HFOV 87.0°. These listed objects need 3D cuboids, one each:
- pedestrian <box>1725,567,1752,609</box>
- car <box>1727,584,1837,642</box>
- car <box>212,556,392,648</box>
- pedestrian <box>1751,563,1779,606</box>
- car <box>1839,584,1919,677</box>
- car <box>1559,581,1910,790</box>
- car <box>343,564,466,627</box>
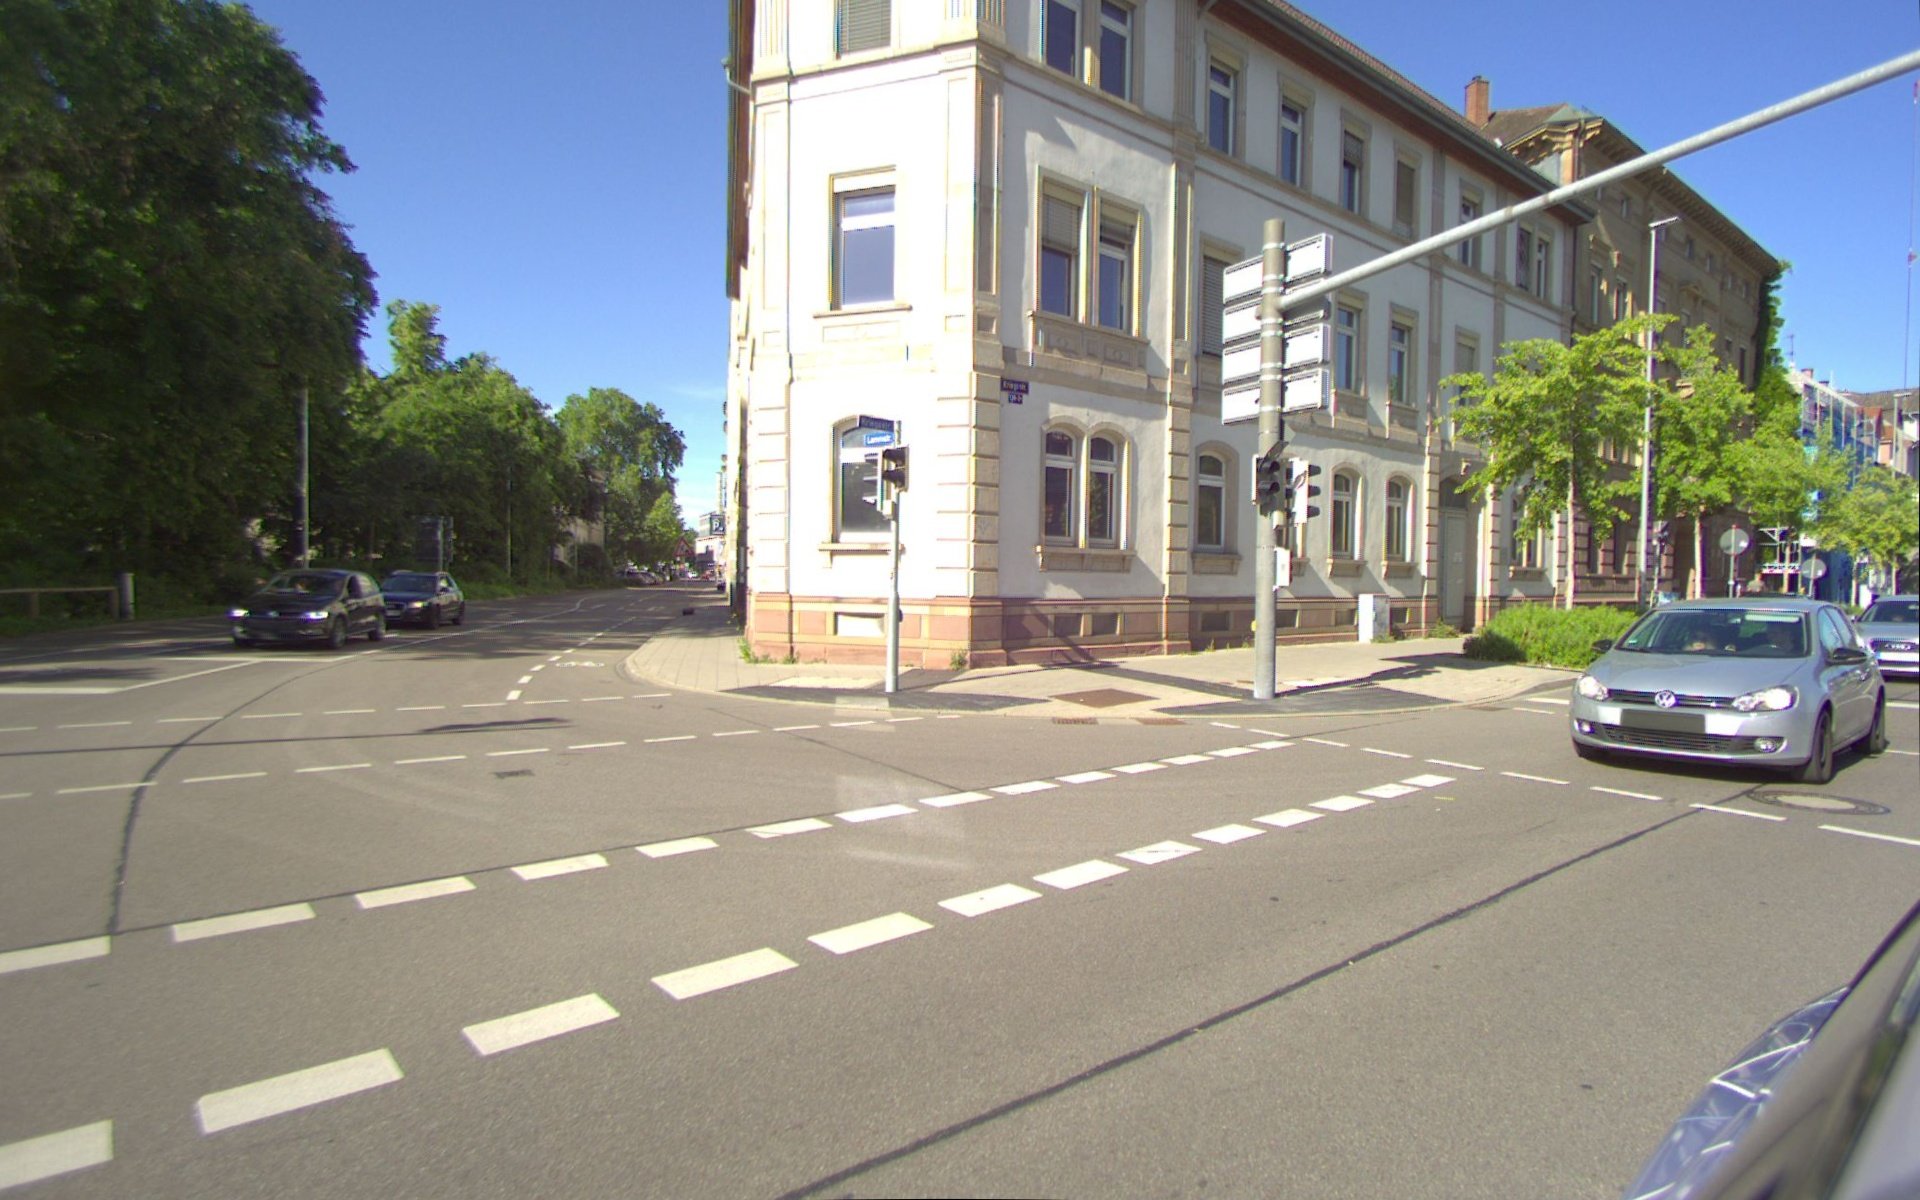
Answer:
[{"bbox_3d":[29.664,-0.448,38.570,0.891,1.581,0.668,-1,0,-41],"label":"pedestrian"},{"bbox_3d":[22.909,0.308,28.154,3.929,1.461,1.610,-1,3,-40],"label":"car"},{"bbox_3d":[-12.391,0.013,19.341,1.696,1.501,4.009,3,0,-16],"label":"car"},{"bbox_3d":[30.256,-0.576,38.022,0.891,1.581,0.668,-1,0,-41],"label":"pedestrian"},{"bbox_3d":[16.562,0.458,17.203,3.929,1.442,1.838,-1,1,-40],"label":"car"},{"bbox_3d":[7.132,0.584,9.188,3.929,1.493,1.702,-1,1,-40],"label":"car"},{"bbox_3d":[-14.220,-0.143,26.155,1.821,1.457,4.009,2,1,-15],"label":"car"}]
